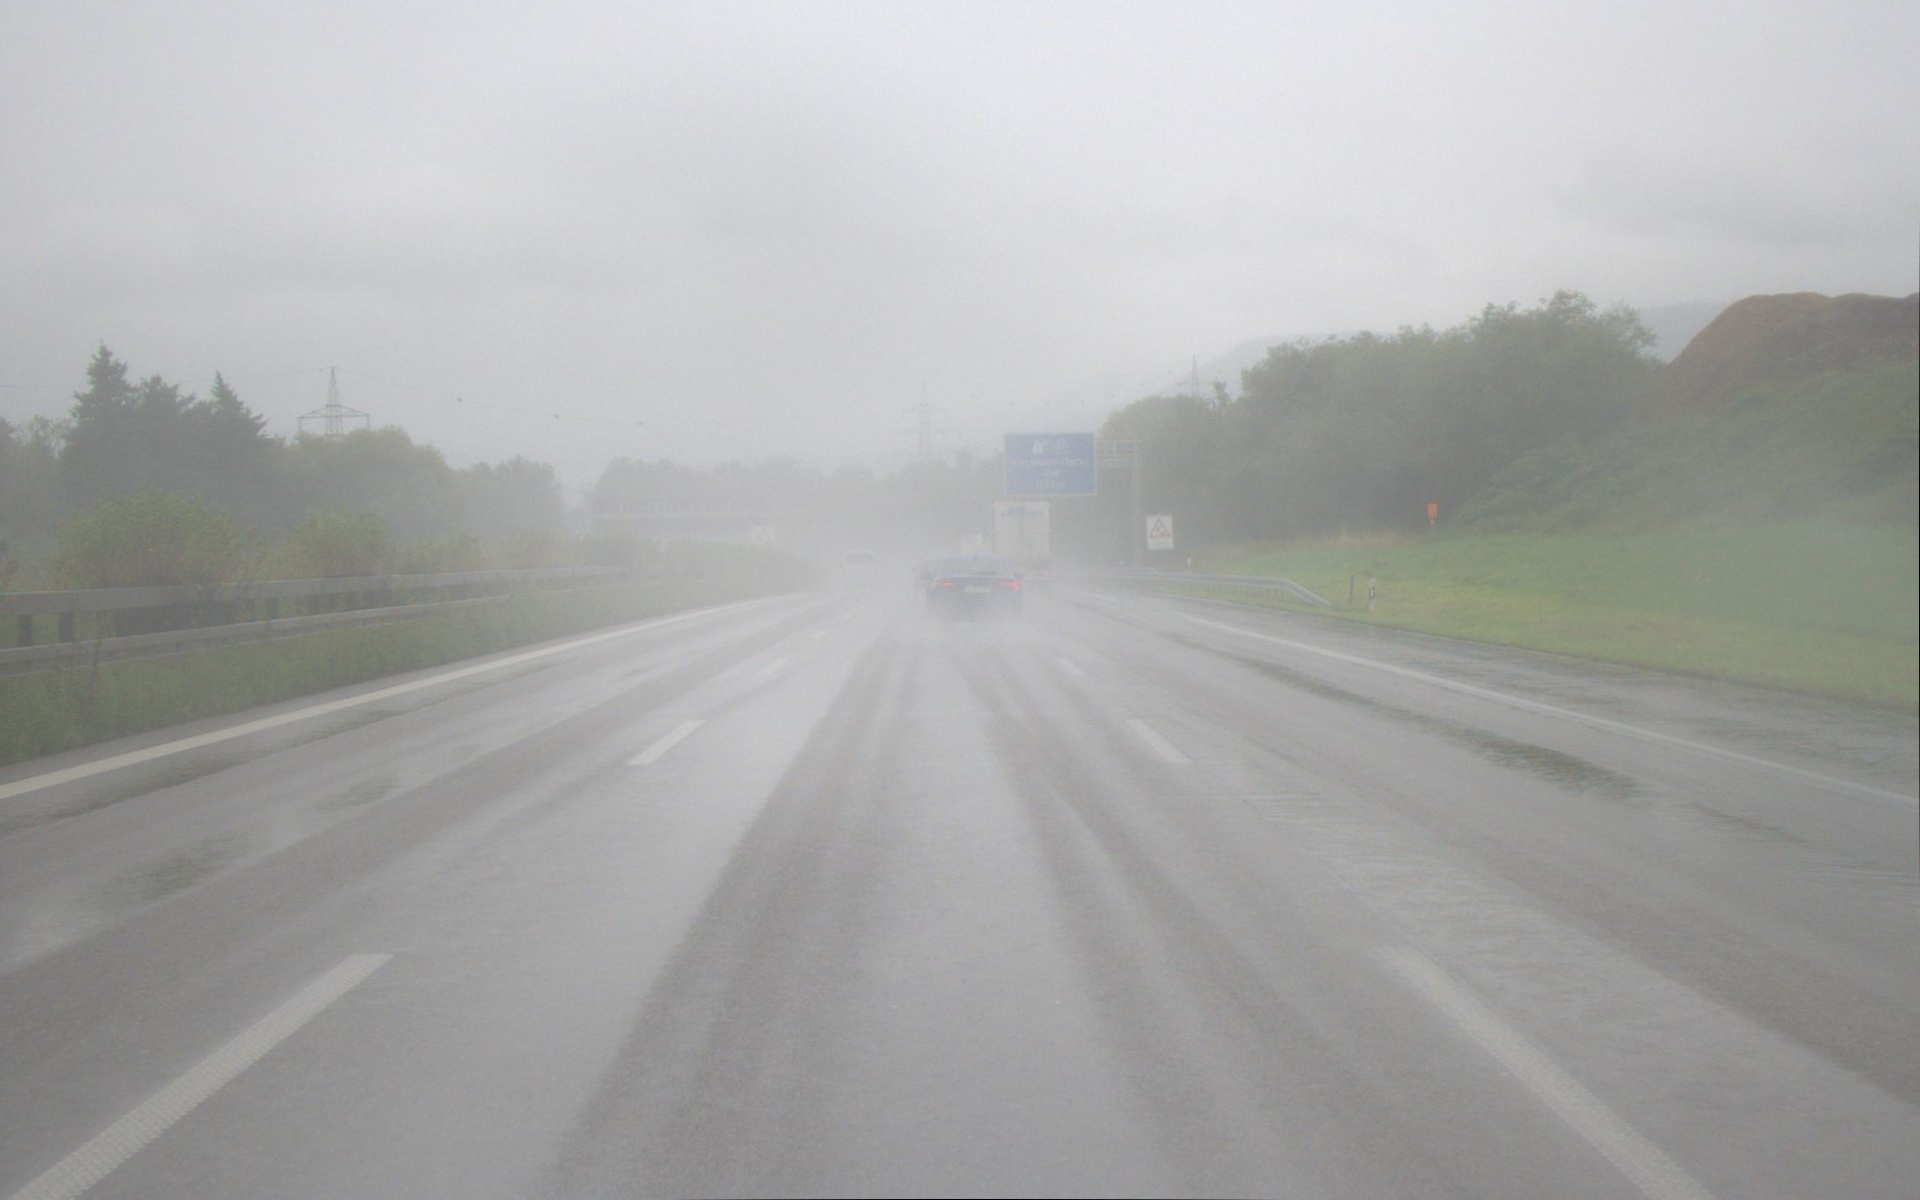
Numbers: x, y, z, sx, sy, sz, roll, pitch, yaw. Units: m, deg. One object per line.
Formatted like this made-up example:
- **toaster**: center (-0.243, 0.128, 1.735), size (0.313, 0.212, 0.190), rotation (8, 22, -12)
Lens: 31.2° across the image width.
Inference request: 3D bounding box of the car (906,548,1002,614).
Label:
- **car**: center (-0.149, -0.384, 65.314), size (1.748, 1.208, 4.000), rotation (0, 1, -1)

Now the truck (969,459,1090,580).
- **truck**: center (3.003, -3.592, 156.183), size (4.256, 4.955, 17.342), rotation (-3, 1, -2)
